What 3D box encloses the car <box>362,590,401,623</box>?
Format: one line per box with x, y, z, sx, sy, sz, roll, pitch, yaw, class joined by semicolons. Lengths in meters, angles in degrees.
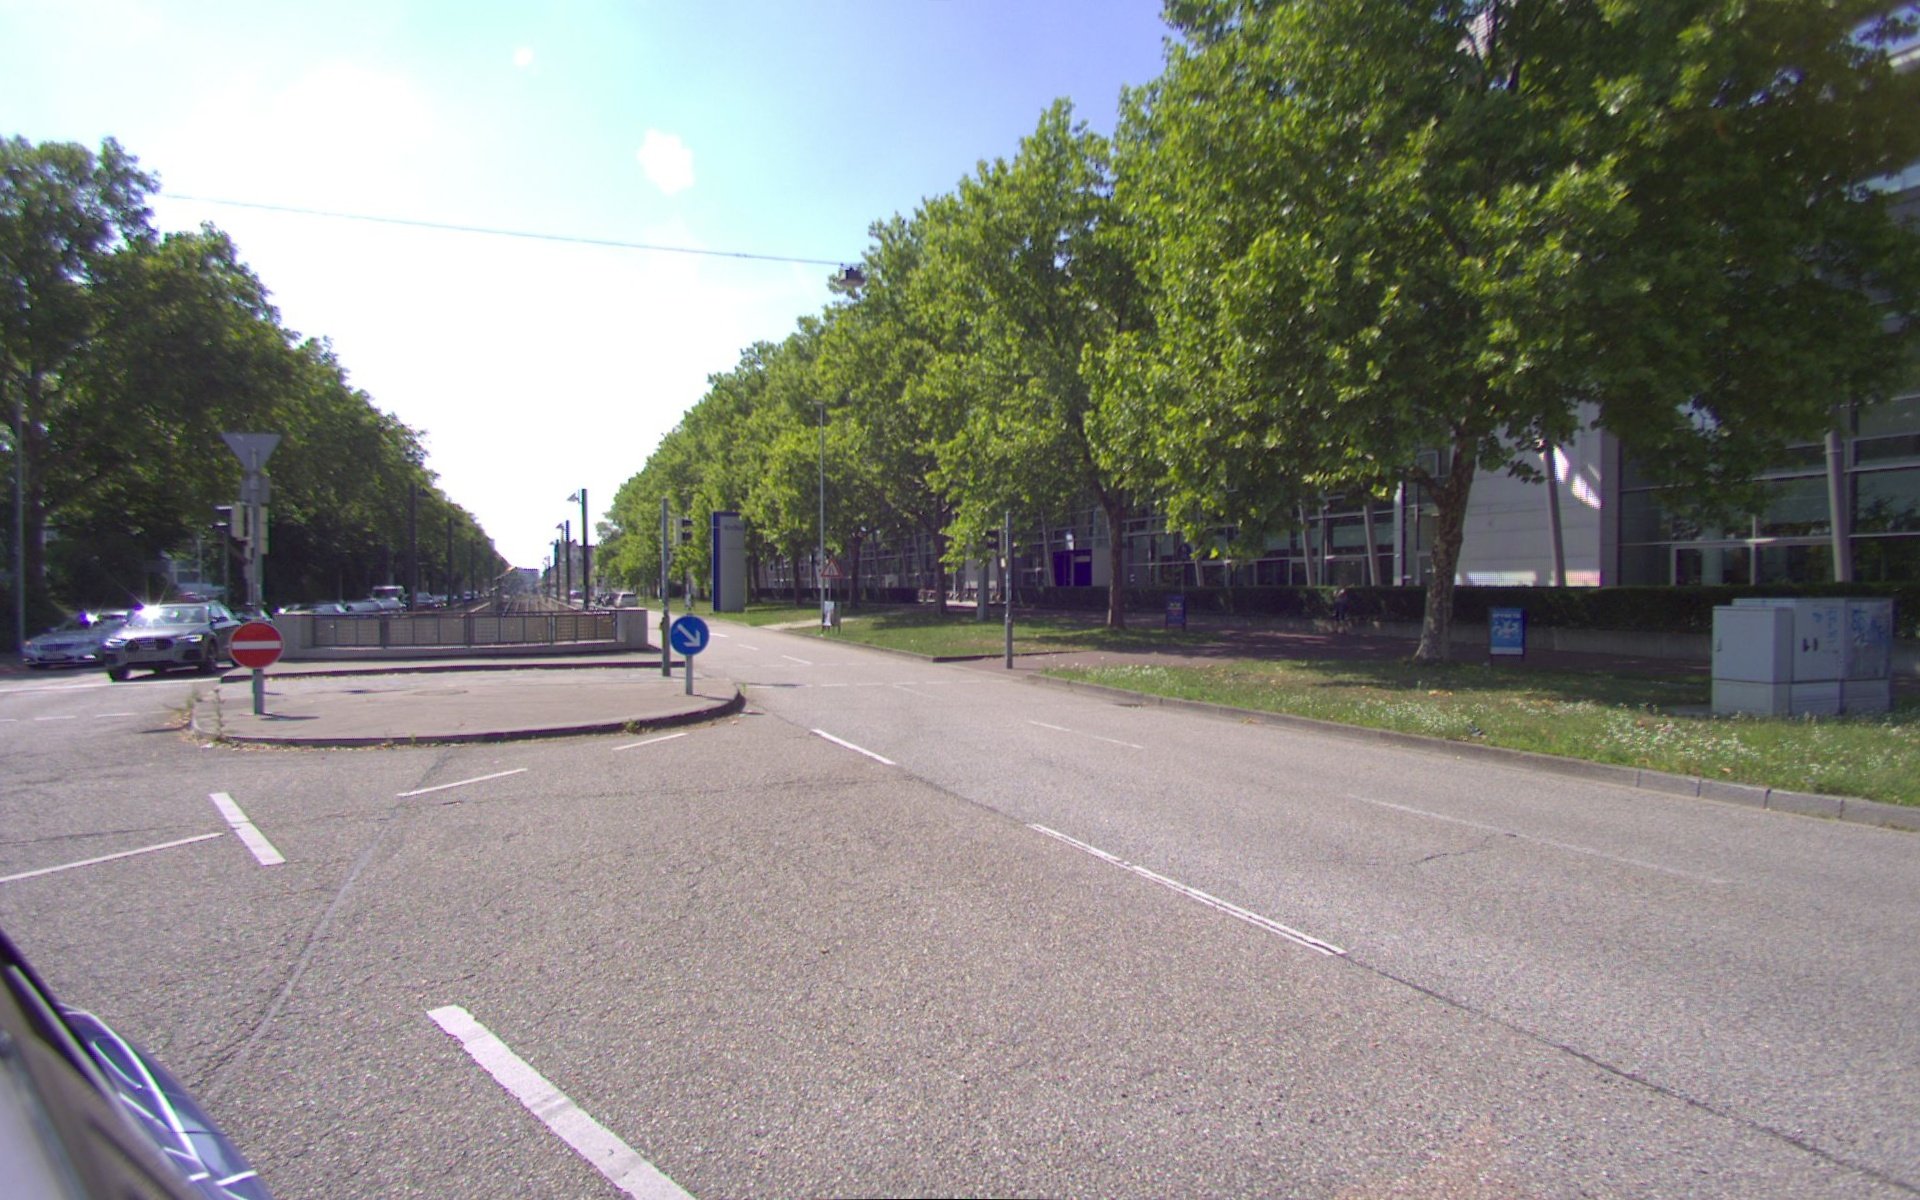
-44.705;0.464;78.272;2.065;2.369;5.654;-1;1;-25;car

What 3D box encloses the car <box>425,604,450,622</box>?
-47.712;1.157;92.457;1.752;1.507;4.013;-1;1;-25;car

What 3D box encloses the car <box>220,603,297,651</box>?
-28.620;1.051;41.415;1.867;1.785;4.187;-1;1;-24;car

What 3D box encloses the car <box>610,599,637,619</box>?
-30.837;0.797;92.572;1.871;1.652;4.013;-2;1;-24;car

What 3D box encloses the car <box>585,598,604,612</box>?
-47.242;0.672;130.734;1.871;1.652;4.013;-2;1;-24;car

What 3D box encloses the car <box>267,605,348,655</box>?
-23.625;1.046;36.783;1.788;1.625;4.013;-2;1;-23;car

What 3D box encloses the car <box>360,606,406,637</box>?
-30.509;1.124;53.619;1.752;1.507;4.013;-1;1;-25;car

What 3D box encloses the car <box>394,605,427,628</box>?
-38.342;1.120;70.729;1.752;1.507;4.013;-1;1;-25;car

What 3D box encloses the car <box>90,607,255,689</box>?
-17.481;0.979;22.715;1.798;1.561;4.576;-1;1;-23;car

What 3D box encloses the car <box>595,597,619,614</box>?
-37.051;0.596;106.165;1.871;1.652;4.800;-2;1;-24;car

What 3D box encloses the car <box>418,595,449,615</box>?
-41.721;0.368;80.218;1.791;1.541;4.013;0;0;-22;car

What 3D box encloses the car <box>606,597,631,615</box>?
-32.942;0.557;97.575;1.871;1.652;4.013;-2;1;-24;car

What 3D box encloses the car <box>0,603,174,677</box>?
-23.811;1.000;27.815;1.966;1.737;5.181;-2;1;-20;car
